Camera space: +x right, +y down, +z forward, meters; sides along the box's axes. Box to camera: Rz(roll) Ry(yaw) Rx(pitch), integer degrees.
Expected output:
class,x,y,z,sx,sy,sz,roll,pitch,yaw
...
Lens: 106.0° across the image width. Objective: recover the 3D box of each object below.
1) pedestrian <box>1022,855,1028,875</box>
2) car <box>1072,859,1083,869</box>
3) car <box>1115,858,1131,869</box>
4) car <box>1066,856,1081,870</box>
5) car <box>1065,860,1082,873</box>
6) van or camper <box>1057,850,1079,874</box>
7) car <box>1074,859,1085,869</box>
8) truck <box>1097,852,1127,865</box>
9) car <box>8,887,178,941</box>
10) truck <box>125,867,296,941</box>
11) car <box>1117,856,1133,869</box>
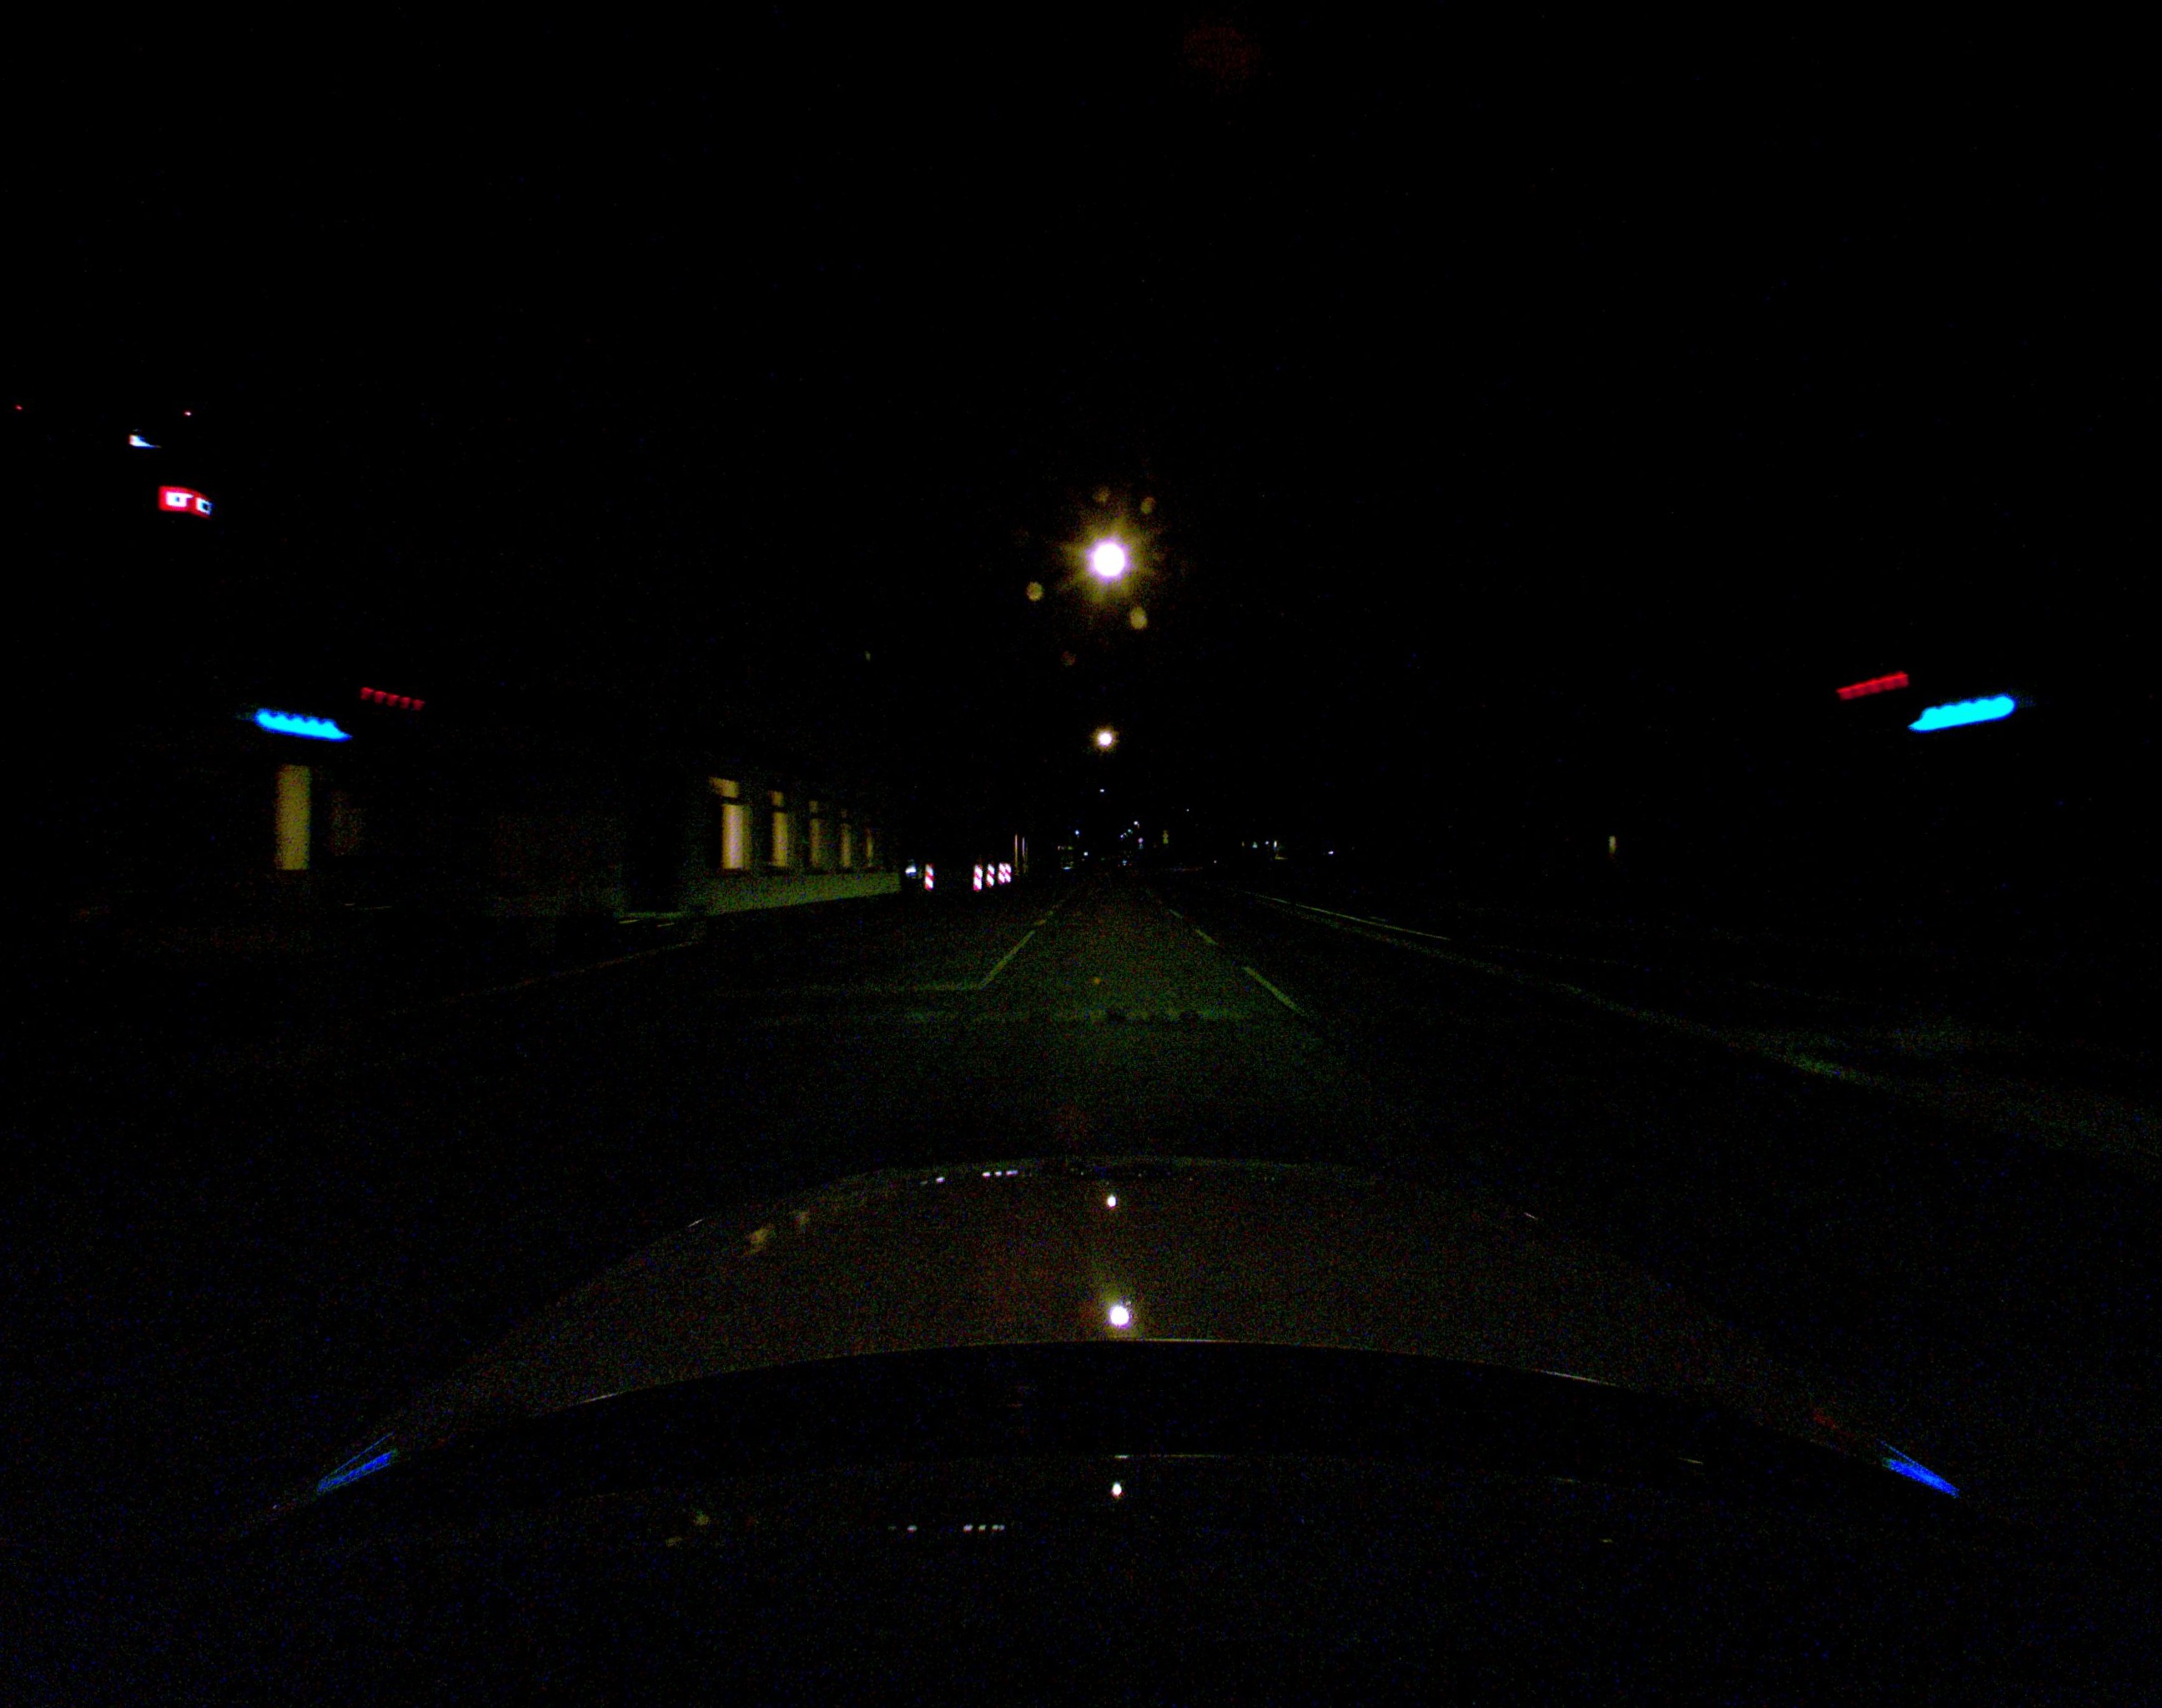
class,x,y,z,sx,sy,sz,roll,pitch,yaw
pedestrian,-4.897,0.950,70.958,0.416,1.708,0.440,-1,-1,-15
car,-0.490,1.608,127.999,1.699,1.510,4.100,0,-1,1
car,5.666,1.273,110.102,1.956,1.383,4.001,-1,-1,2
car,-1.055,1.267,115.337,1.986,1.955,4.807,-1,-1,2
car,-1.024,1.623,105.230,1.836,1.507,4.733,-2,-1,-5
van or camper,-1.450,0.910,94.346,2.150,2.535,6.227,-3,-1,1
car,-0.226,1.624,133.587,1.671,1.566,4.105,-1,-1,1
truck,6.900,1.030,182.251,6.758,2.844,1.999,0,0,-2
car,-31.484,1.855,26.137,1.890,1.449,3.968,-1,0,-24
truck,-23.805,1.299,22.489,1.900,1.807,4.077,-1,-1,-27
car,5.645,1.106,104.661,1.876,1.603,4.111,-2,-1,3
